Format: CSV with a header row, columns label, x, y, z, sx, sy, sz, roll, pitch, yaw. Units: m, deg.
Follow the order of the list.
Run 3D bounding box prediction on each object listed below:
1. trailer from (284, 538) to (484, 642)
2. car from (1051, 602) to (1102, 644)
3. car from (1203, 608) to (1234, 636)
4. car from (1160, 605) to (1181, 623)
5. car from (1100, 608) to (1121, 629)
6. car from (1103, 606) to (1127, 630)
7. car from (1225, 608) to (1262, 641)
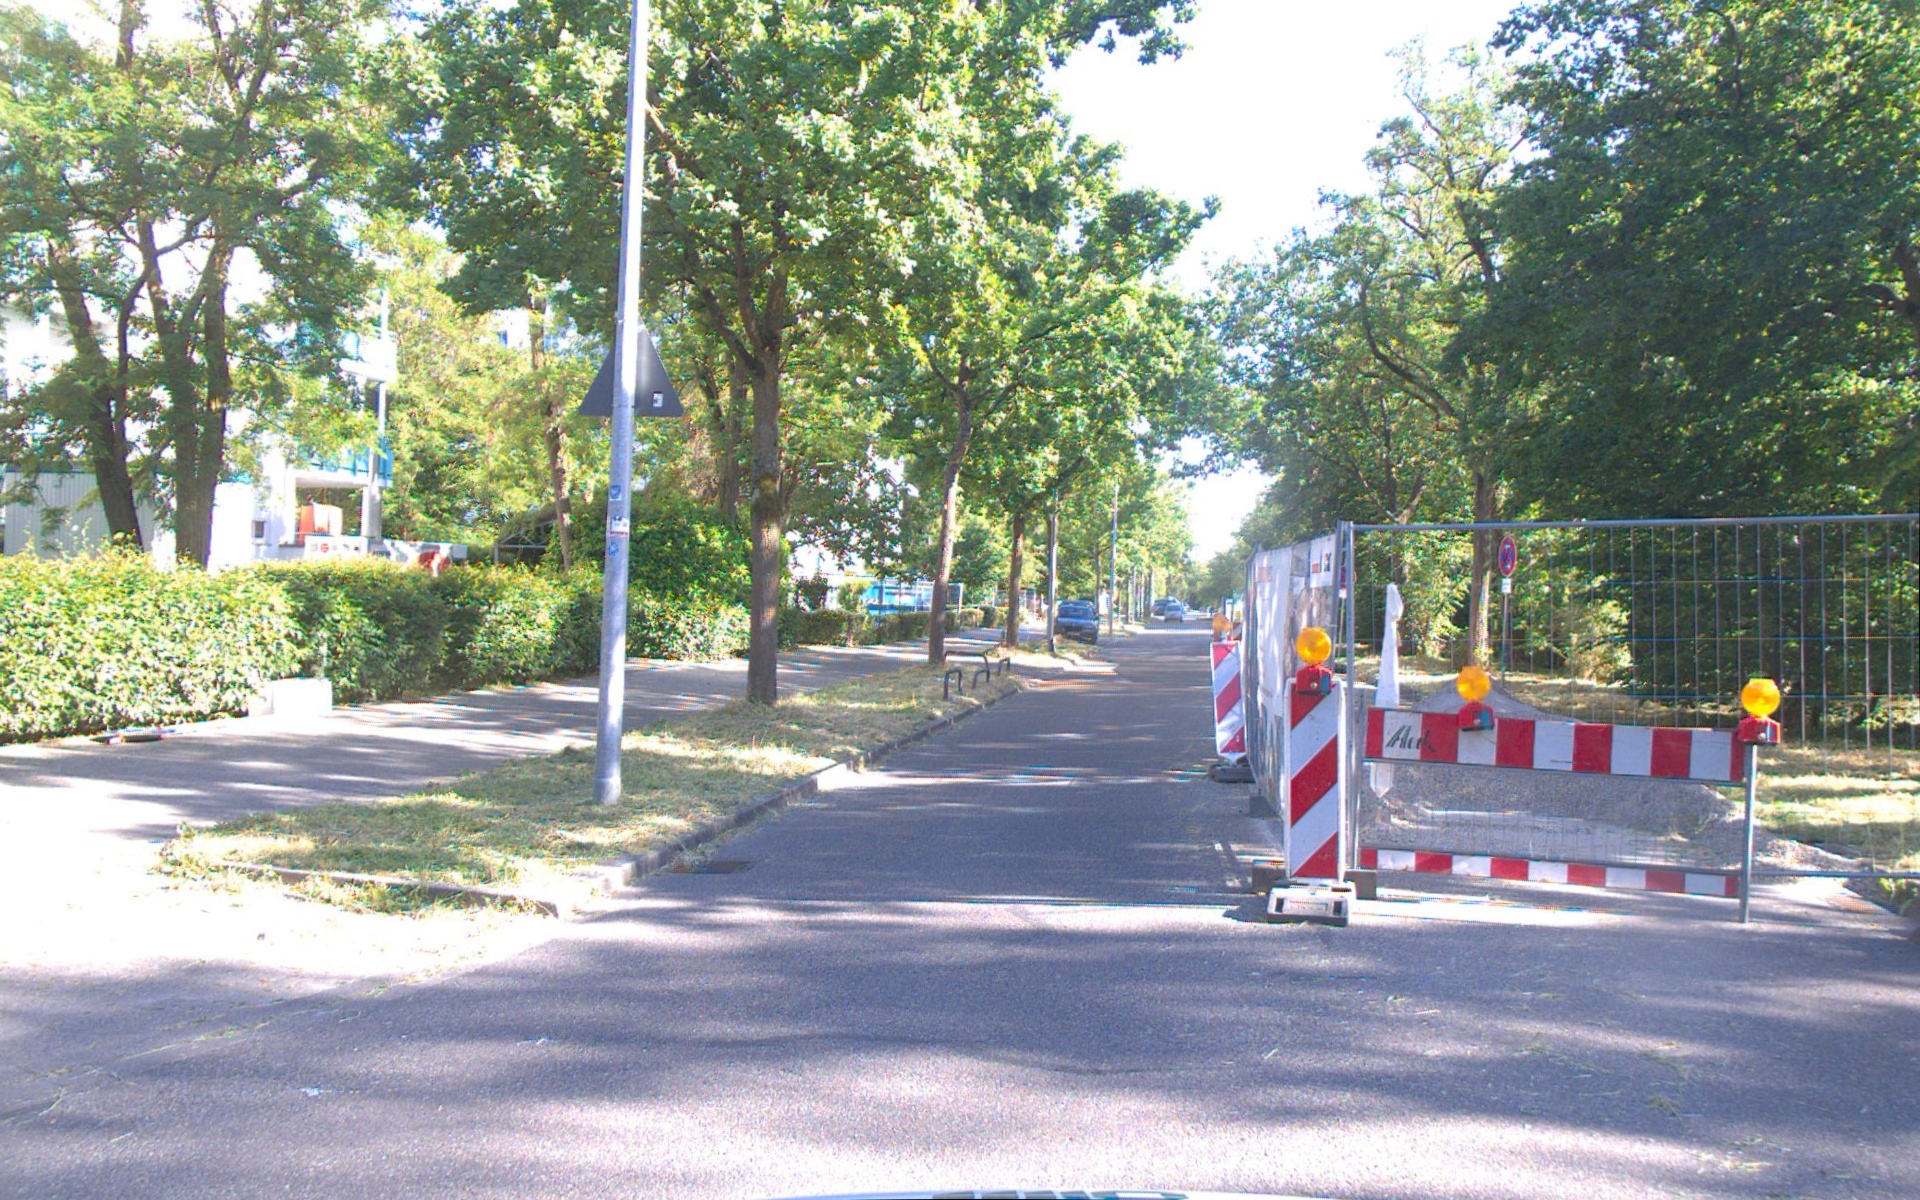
label,x,y,z,sx,sy,sz,roll,pitch,yaw
trailer,-12.473,-0.203,36.142,1.934,2.078,4.433,1,0,15
car,4.484,0.848,63.432,1.713,1.504,3.839,2,0,7
car,13.299,1.133,85.139,1.332,1.325,3.483,3,-1,6
car,20.011,1.332,157.269,1.675,1.612,4.002,3,-1,5
car,10.049,1.263,110.137,1.332,1.325,3.483,3,-1,6
car,9.226,1.088,98.401,1.332,1.325,3.483,3,-1,6
car,12.356,1.080,72.166,1.332,1.325,3.483,3,-1,6
